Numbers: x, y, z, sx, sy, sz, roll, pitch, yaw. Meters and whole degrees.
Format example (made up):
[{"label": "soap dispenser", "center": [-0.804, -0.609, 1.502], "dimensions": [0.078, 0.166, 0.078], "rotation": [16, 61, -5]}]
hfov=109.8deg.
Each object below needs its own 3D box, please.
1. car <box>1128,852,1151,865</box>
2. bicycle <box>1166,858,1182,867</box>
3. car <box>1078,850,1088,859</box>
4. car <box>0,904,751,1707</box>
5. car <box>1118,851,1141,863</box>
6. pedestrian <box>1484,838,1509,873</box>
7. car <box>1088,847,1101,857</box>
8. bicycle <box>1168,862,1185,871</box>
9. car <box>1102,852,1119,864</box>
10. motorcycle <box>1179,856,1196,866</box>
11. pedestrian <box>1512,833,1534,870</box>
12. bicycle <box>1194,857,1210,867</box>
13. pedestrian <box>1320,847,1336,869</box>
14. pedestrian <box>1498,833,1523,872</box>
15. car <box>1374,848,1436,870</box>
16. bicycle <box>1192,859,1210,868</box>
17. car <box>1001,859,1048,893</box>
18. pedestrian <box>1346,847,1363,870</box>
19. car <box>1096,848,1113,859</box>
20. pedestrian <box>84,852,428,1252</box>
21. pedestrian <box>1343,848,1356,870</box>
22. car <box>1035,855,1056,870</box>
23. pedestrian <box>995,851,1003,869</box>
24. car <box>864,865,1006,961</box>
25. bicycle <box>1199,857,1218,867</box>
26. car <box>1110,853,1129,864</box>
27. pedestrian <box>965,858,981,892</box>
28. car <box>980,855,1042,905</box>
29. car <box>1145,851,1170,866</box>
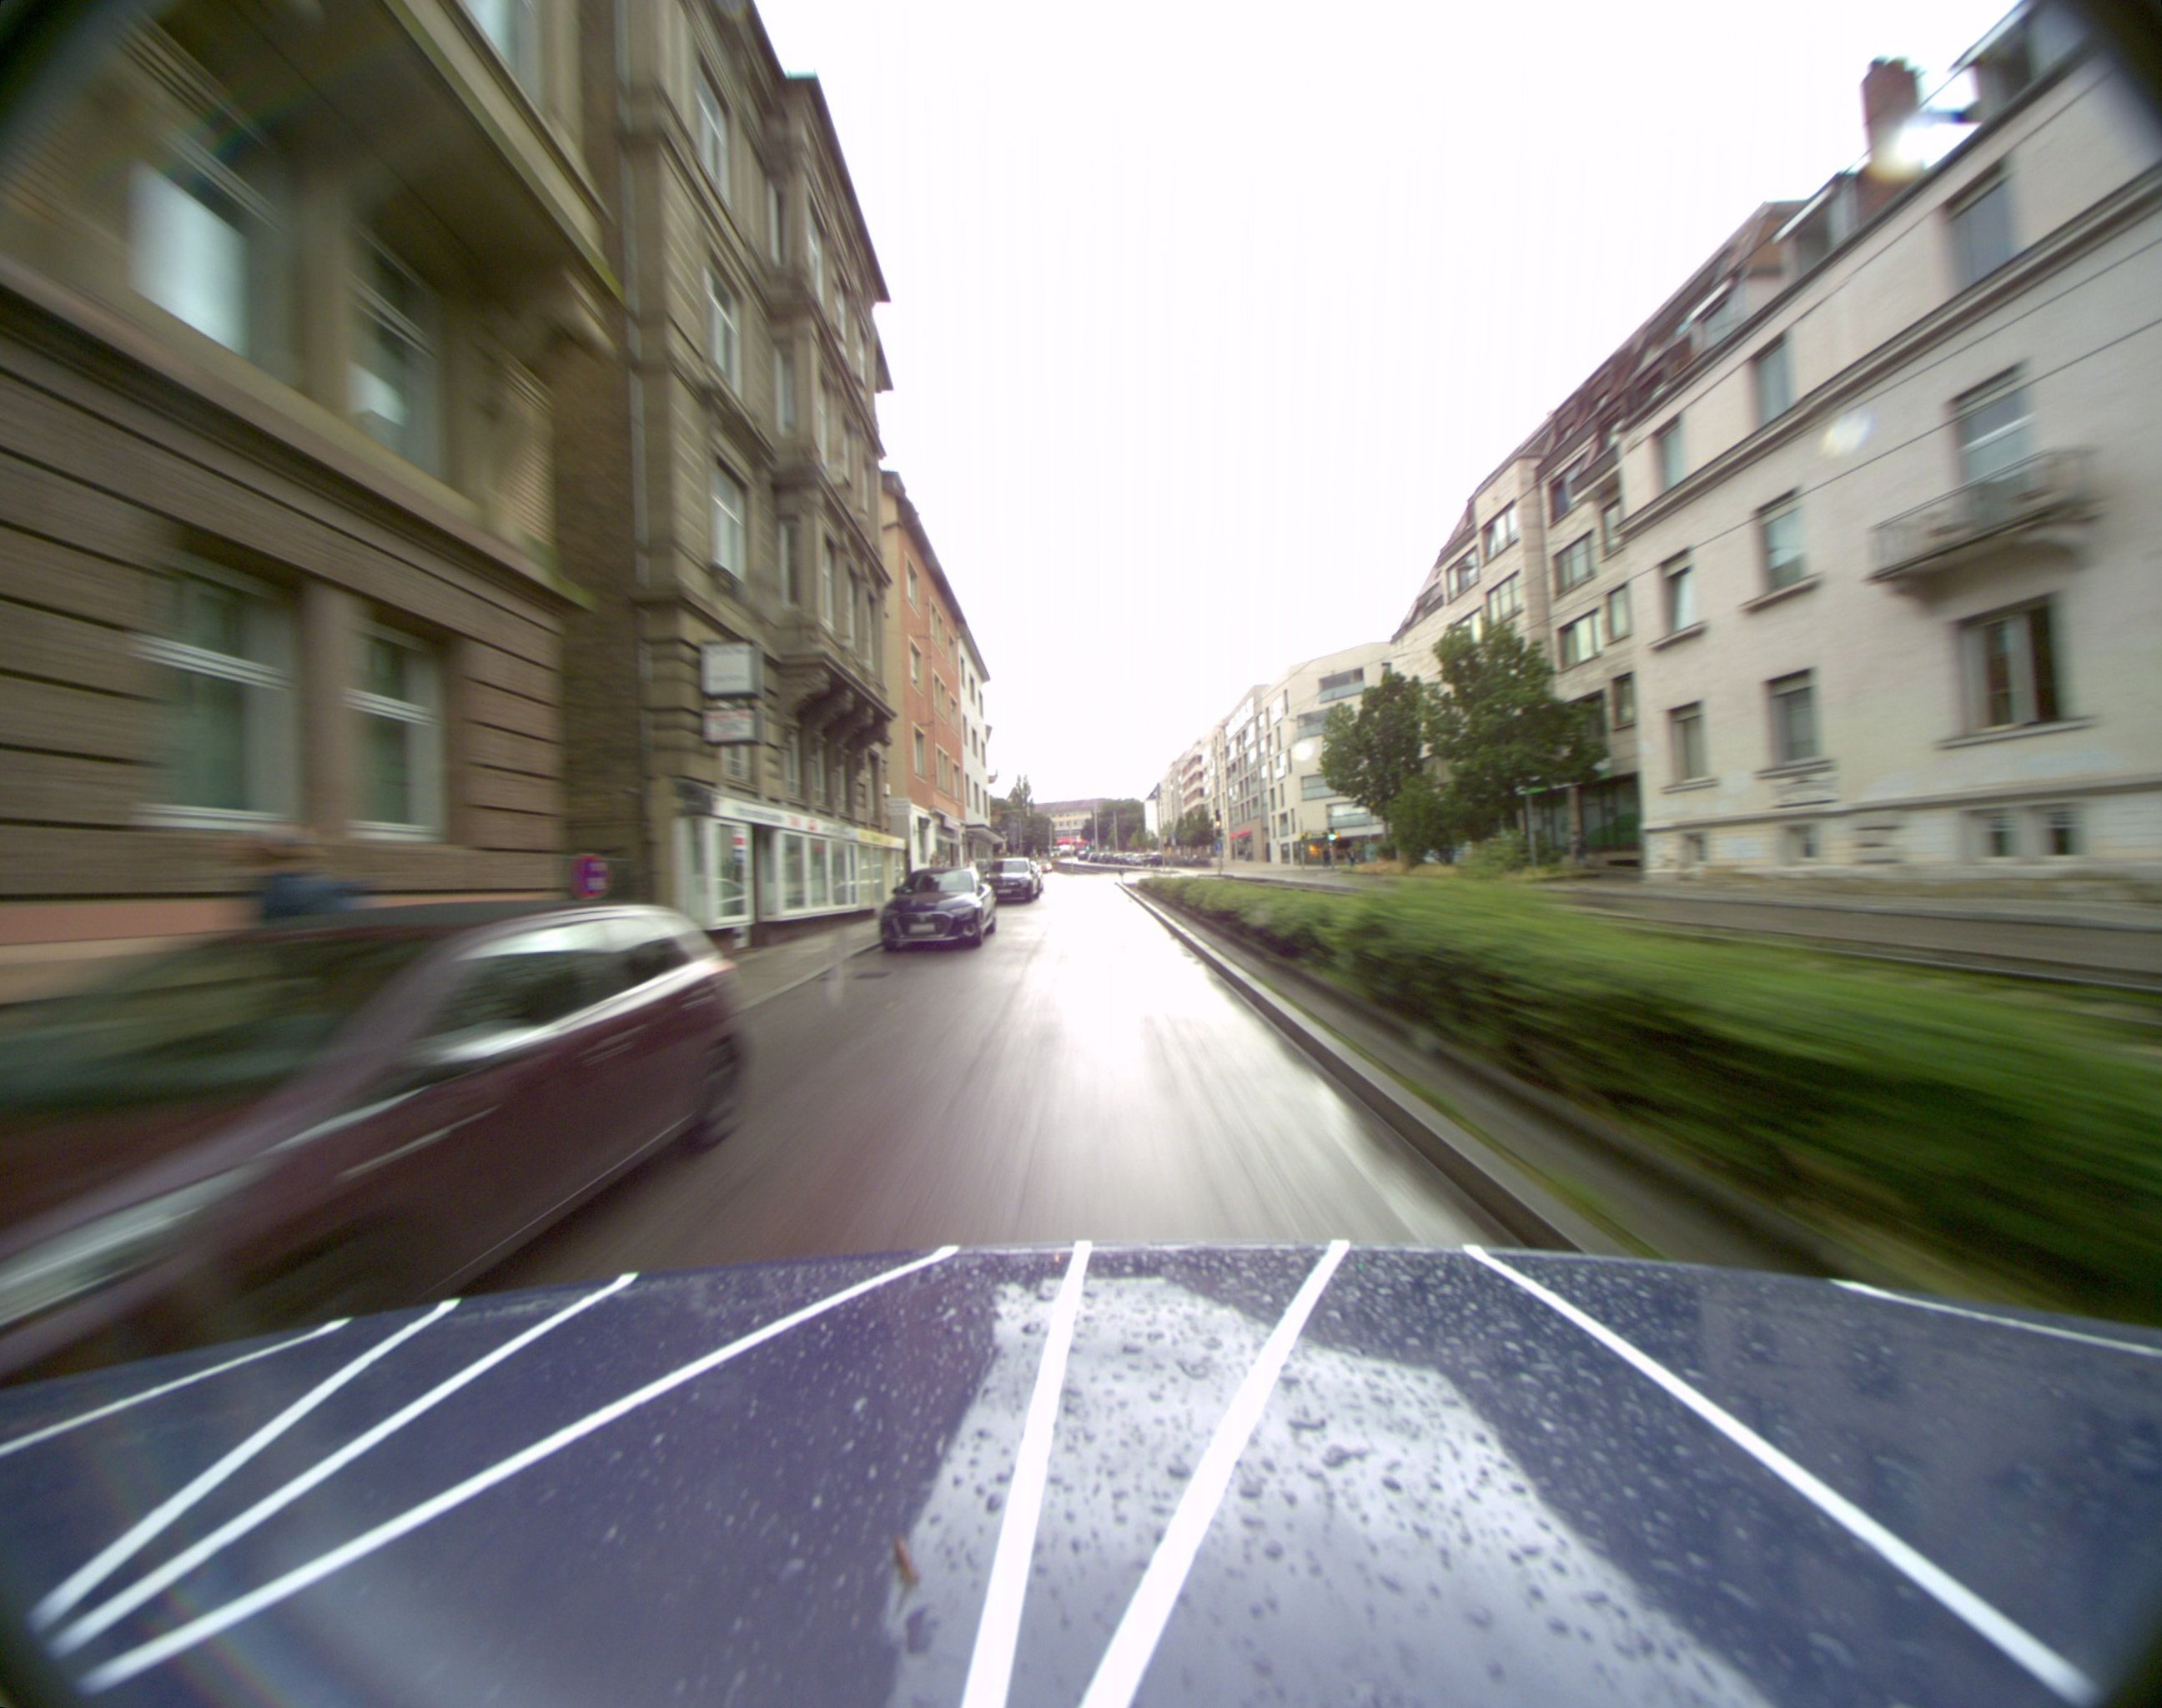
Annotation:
[{"label": "car", "center": [7.380, 0.506, 96.627], "dimensions": [1.686, 1.456, 4.325], "rotation": [-4, 1, -11]}, {"label": "bicycle", "center": [10.454, 0.902, 85.299], "dimensions": [1.790, 0.912, 0.387], "rotation": [-3, 2, -14]}, {"label": "car", "center": [0.426, 0.122, 145.335], "dimensions": [1.655, 1.456, 3.668], "rotation": [-5, 2, -2]}, {"label": "car", "center": [-2.873, 1.064, 2.865], "dimensions": [1.653, 1.451, 3.476], "rotation": [-2, 0, 0]}, {"label": "car", "center": [6.459, 0.402, 101.584], "dimensions": [1.686, 1.521, 4.044], "rotation": [-4, 1, -15]}, {"label": "pedestrian", "center": [18.867, 0.066, 34.488], "dimensions": [0.649, 1.540, 0.683], "rotation": [-5, 2, -2]}, {"label": "car", "center": [2.158, -0.417, 125.566], "dimensions": [1.651, 1.496, 3.778], "rotation": [-4, 1, -5]}, {"label": "bicycle", "center": [10.636, 1.385, 84.307], "dimensions": [1.790, 0.912, 0.387], "rotation": [-3, 2, -14]}, {"label": "car", "center": [4.301, 0.597, 111.269], "dimensions": [1.686, 1.555, 3.924], "rotation": [-4, 1, -11]}, {"label": "motorcycle", "center": [12.297, 0.819, 87.787], "dimensions": [1.765, 1.037, 0.542], "rotation": [-2, 3, -14]}, {"label": "pedestrian", "center": [19.623, -0.111, 33.743], "dimensions": [0.505, 1.589, 0.585], "rotation": [-5, 2, -2]}, {"label": "bicycle", "center": [12.826, 0.865, 80.742], "dimensions": [1.791, 0.912, 0.386], "rotation": [-5, 2, -30]}, {"label": "pedestrian", "center": [20.860, 0.347, 64.201], "dimensions": [0.933, 1.819, 0.958], "rotation": [-2, 2, -8]}, {"label": "pedestrian", "center": [19.518, -0.068, 34.530], "dimensions": [0.649, 1.714, 0.683], "rotation": [-5, 2, -2]}, {"label": "car", "center": [23.019, 0.322, 54.043], "dimensions": [3.703, 1.310, 1.593], "rotation": [-3, 2, -2]}, {"label": "bicycle", "center": [12.628, 1.005, 79.823], "dimensions": [1.790, 0.871, 0.387], "rotation": [-4, 2, -12]}, {"label": "car", "center": [-2.620, 0.996, 36.291], "dimensions": [1.806, 1.447, 4.587], "rotation": [-2, 0, 1]}, {"label": "pedestrian", "center": [19.633, 0.313, 54.546], "dimensions": [0.649, 1.560, 0.775], "rotation": [-6, 3, -37]}, {"label": "car", "center": [3.548, -0.086, 115.373], "dimensions": [1.686, 1.496, 3.924], "rotation": [-4, 1, -11]}, {"label": "pedestrian", "center": [-4.144, 0.904, 3.920], "dimensions": [0.705, 1.808, 0.961], "rotation": [0, -1, 0]}, {"label": "pedestrian", "center": [21.341, 0.372, 60.361], "dimensions": [0.706, 1.701, 0.584], "rotation": [-4, 2, -24]}, {"label": "car", "center": [-3.801, 0.876, 80.195], "dimensions": [1.595, 1.456, 3.666], "rotation": [-5, 2, -11]}, {"label": "pedestrian", "center": [-8.050, 0.606, 74.402], "dimensions": [0.749, 1.754, 0.817], "rotation": [1, 1, -11]}, {"label": "car", "center": [-2.658, 1.020, 14.867], "dimensions": [1.796, 1.398, 4.256], "rotation": [-3, 1, 1]}, {"label": "bicycle", "center": [13.217, 0.826, 78.729], "dimensions": [1.790, 0.975, 0.440], "rotation": [-4, 2, -14]}, {"label": "car", "center": [5.373, 0.659, 105.933], "dimensions": [1.686, 1.373, 4.028], "rotation": [-4, 1, -11]}, {"label": "pedestrian", "center": [-5.045, 0.993, 35.373], "dimensions": [0.690, 1.562, 0.762], "rotation": [-1, -2, -11]}, {"label": "car", "center": [-2.587, 0.921, 29.192], "dimensions": [1.850, 1.623, 4.585], "rotation": [-3, 1, 1]}, {"label": "car", "center": [9.003, 0.464, 89.994], "dimensions": [1.686, 1.595, 4.324], "rotation": [-4, 1, -11]}]
